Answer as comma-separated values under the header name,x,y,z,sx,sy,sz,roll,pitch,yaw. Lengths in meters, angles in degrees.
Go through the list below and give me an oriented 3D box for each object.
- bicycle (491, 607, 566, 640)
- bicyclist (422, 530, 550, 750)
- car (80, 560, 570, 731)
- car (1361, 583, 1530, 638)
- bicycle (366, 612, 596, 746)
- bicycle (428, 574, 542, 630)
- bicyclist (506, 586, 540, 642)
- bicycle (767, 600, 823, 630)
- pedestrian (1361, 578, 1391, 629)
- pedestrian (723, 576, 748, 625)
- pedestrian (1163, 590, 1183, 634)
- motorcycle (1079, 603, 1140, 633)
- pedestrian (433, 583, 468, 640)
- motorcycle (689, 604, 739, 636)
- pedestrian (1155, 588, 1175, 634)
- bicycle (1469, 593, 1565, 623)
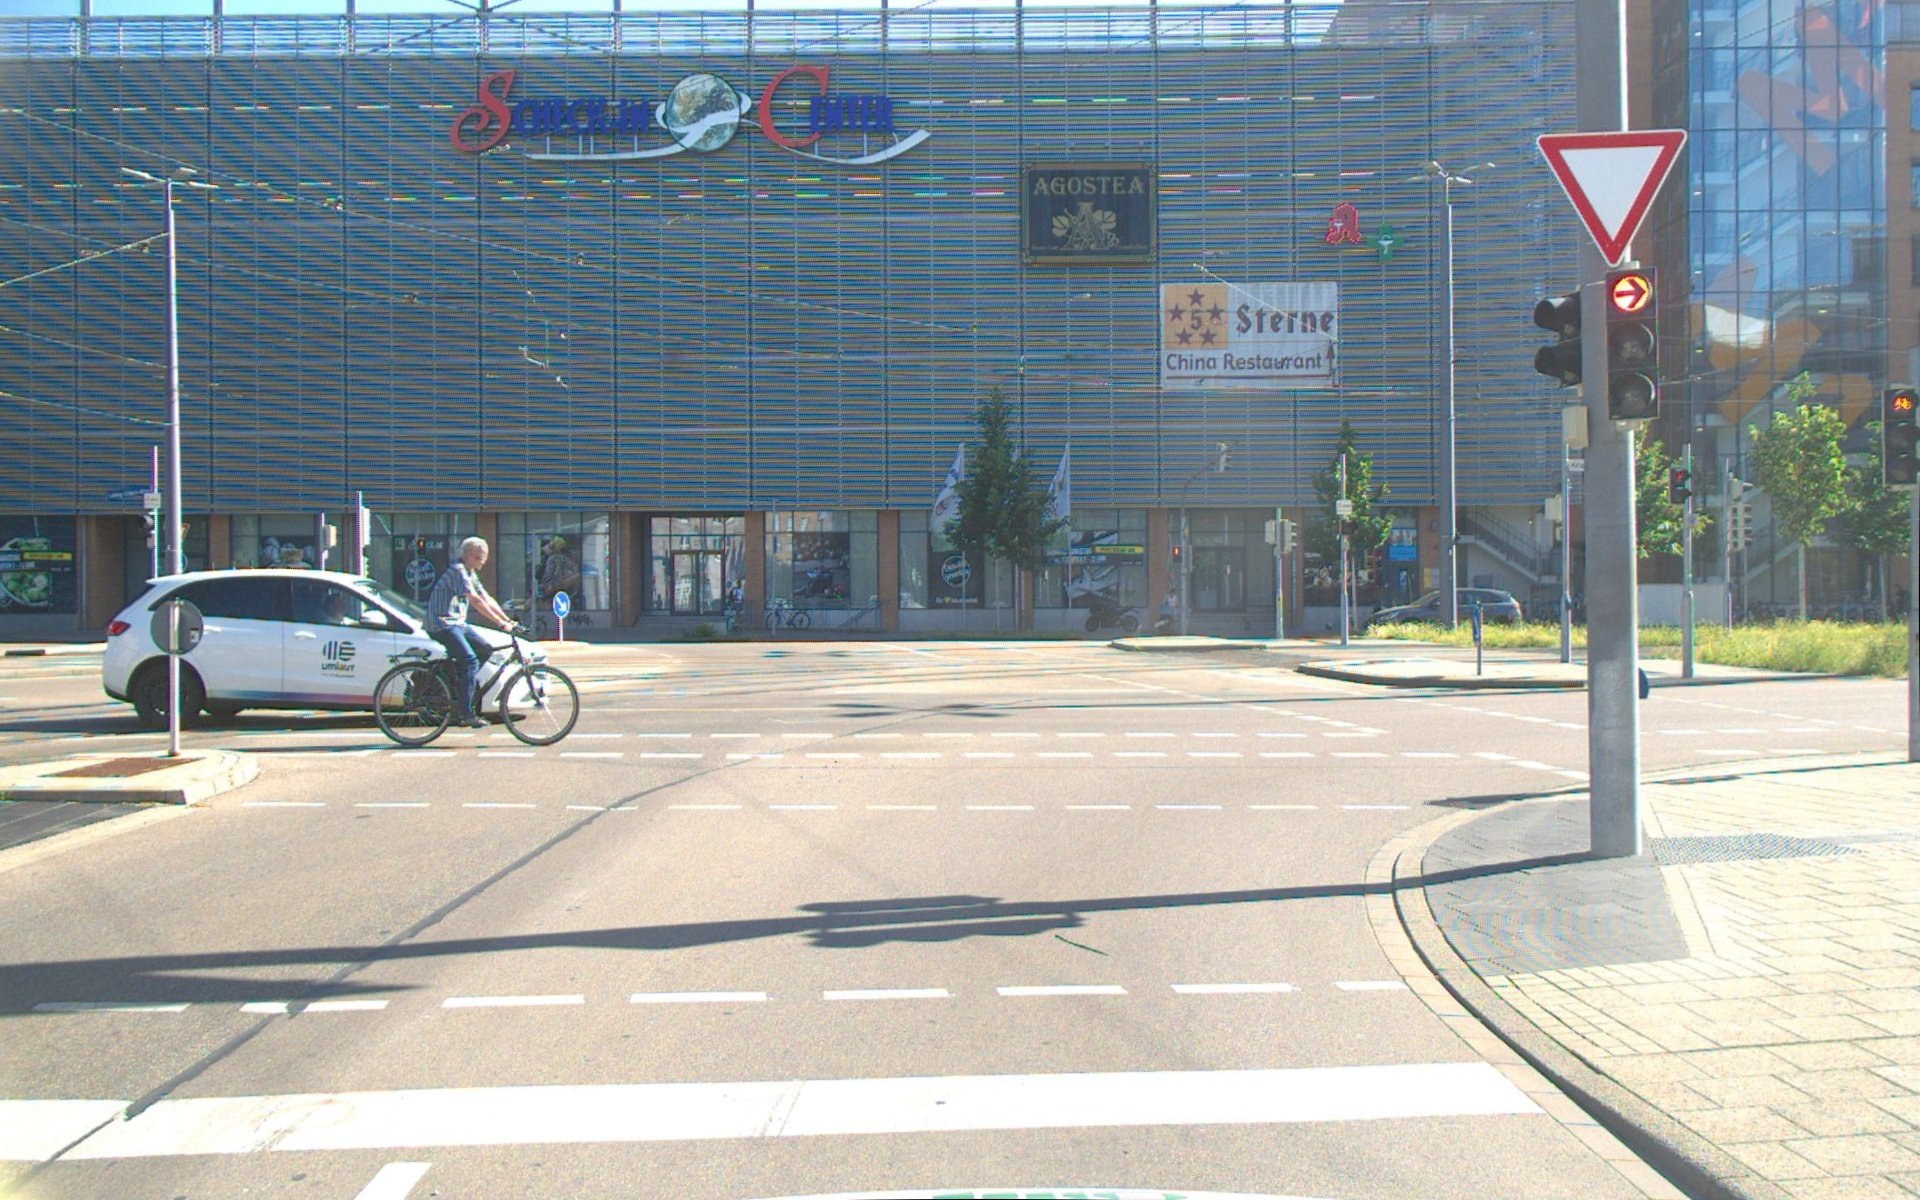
name,x,y,z,sx,sy,sz,roll,pitch,yaw
bicycle,-14.555,0.785,55.823,2.225,1.089,1.030,-1,0,-42
bicyclist,-4.197,0.347,14.700,0.883,1.892,0.854,0,0,-1
car,-6.462,0.420,17.273,4.401,1.663,1.837,0,1,-5
car,13.787,0.288,47.103,4.395,1.521,1.494,0,0,-1
bicycle,-4.228,0.687,14.698,1.791,1.135,0.853,0,0,-1
bicycle,-17.908,0.066,62.487,3.905,2.049,1.330,1,0,-1
bicyclist,-14.704,0.466,55.628,0.838,1.834,0.803,0,0,-42
bicycle,-6.123,0.541,61.560,1.985,1.078,1.145,0,0,-1
pedestrian,14.769,0.118,58.723,0.837,1.768,0.752,0,0,-7
pedestrian,-8.316,0.028,61.238,0.831,1.794,0.620,0,0,-2
pedestrian,7.321,0.415,56.886,0.577,1.488,0.658,0,0,-1
motorcycle,5.601,0.677,62.042,2.157,1.061,1.061,1,1,-1
pedestrian,-17.253,0.375,56.009,0.890,1.901,0.816,0,0,42
motorcycle,-8.447,0.700,56.778,1.616,1.078,0.497,0,0,9
pedestrian,6.950,0.381,56.196,0.577,1.561,0.658,0,0,-1
bicycle,21.095,0.298,62.723,3.289,1.096,1.117,1,1,5
